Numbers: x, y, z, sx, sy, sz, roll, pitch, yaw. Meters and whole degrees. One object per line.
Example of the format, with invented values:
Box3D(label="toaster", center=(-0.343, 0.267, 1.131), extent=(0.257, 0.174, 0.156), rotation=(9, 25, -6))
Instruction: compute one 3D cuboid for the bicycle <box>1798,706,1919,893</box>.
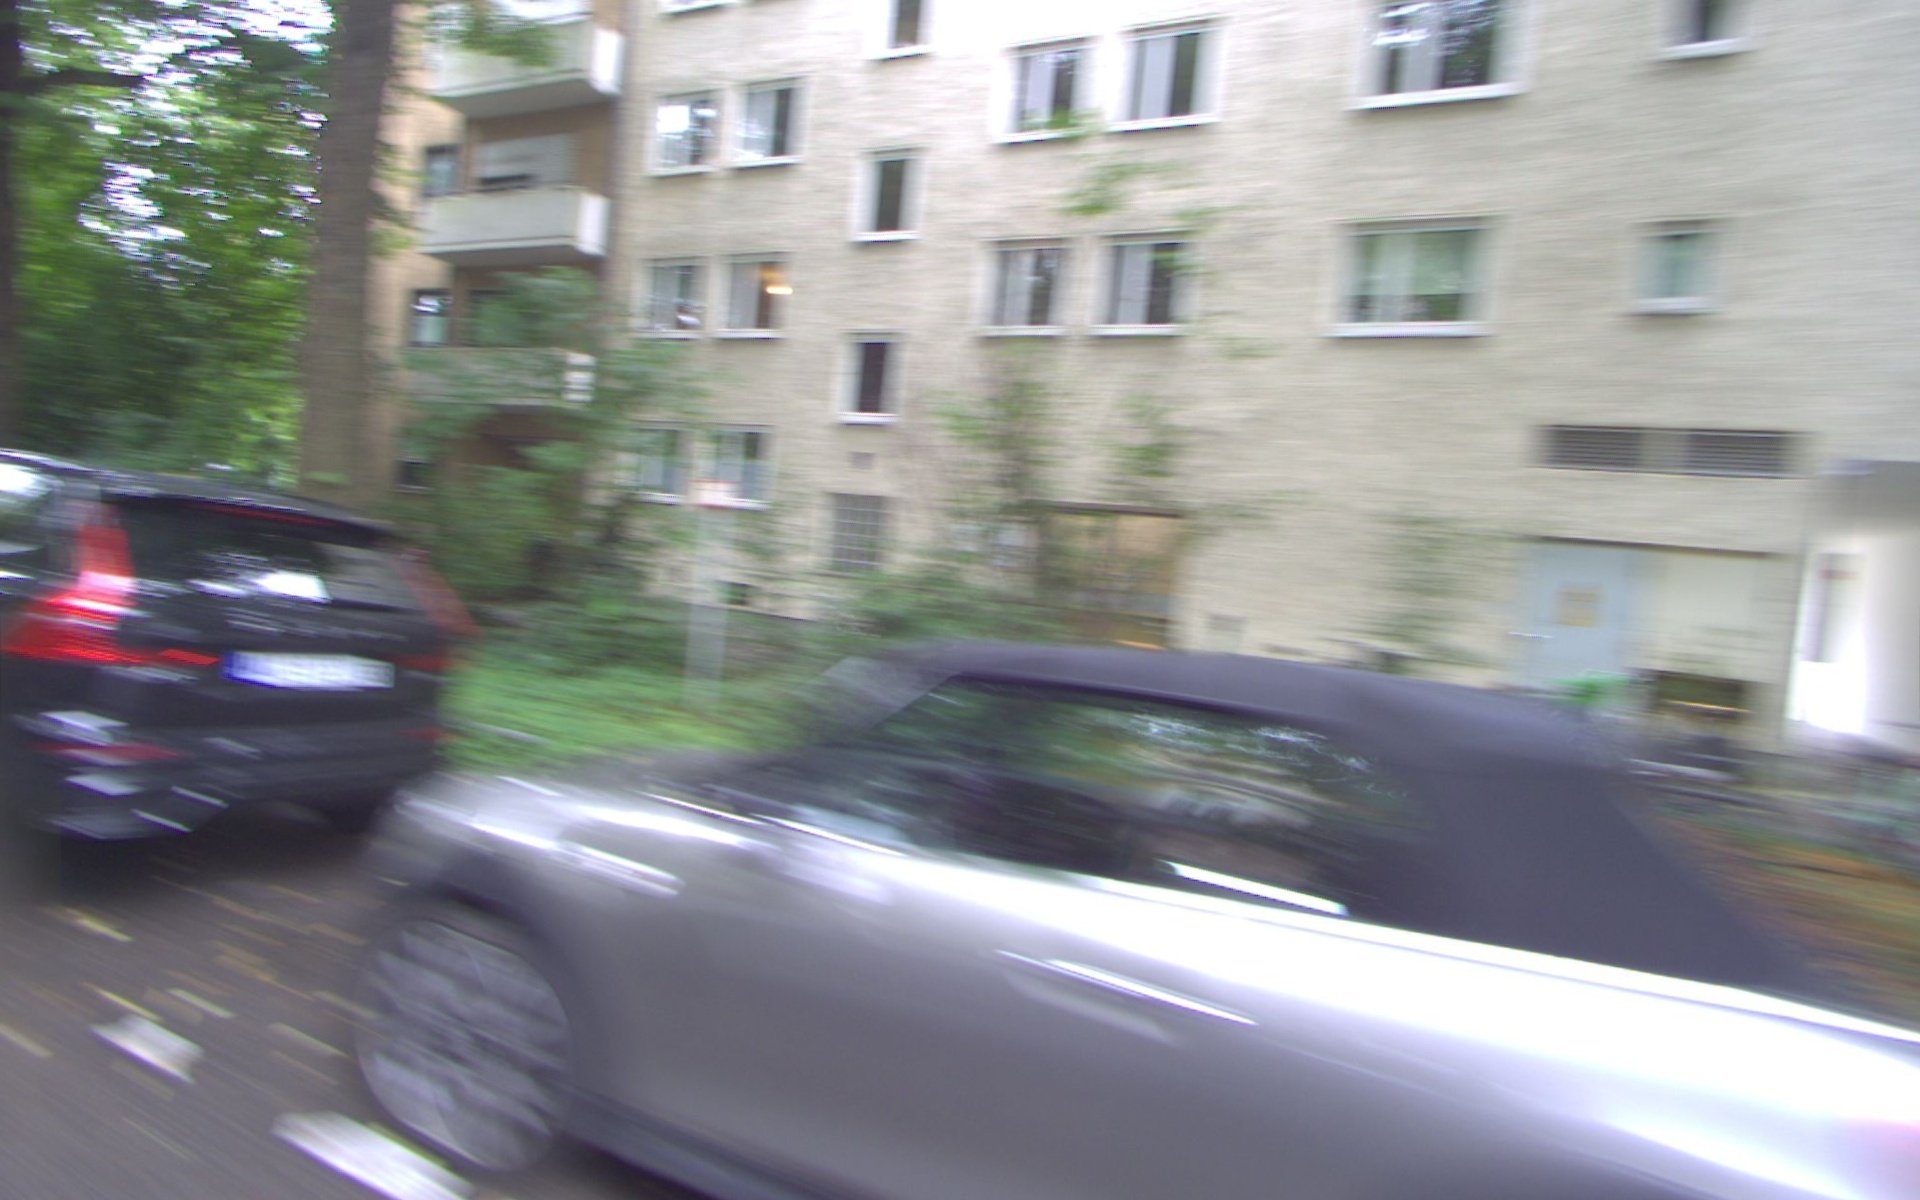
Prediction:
Box3D(label="bicycle", center=(6.792, 1.418, 7.051), extent=(0.530, 1.138, 1.877), rotation=(6, 1, 14))

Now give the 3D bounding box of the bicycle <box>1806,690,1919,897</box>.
Box3D(label="bicycle", center=(5.954, 1.196, 5.982), extent=(0.530, 1.138, 1.877), rotation=(6, 1, 14))

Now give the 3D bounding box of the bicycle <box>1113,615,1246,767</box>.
Box3D(label="bicycle", center=(1.928, 0.764, 9.089), extent=(0.438, 1.138, 1.767), rotation=(6, 1, -10))

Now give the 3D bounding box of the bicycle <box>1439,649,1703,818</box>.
Box3D(label="bicycle", center=(5.090, 1.091, 8.481), extent=(1.738, 1.138, 0.445), rotation=(7, 2, 15))

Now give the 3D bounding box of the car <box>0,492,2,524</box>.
Box3D(label="car", center=(-8.878, -0.283, 7.115), extent=(3.711, 1.431, 1.622), rotation=(7, 1, 22))

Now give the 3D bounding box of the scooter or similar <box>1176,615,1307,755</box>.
Box3D(label="scooter or similar", center=(2.887, 0.852, 10.337), extent=(1.116, 1.269, 0.384), rotation=(7, 2, 26))

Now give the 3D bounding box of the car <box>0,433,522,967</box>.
Box3D(label="car", center=(-4.498, 0.127, 4.875), extent=(4.445, 1.650, 1.835), rotation=(7, 1, 26))

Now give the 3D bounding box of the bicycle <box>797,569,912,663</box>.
Box3D(label="bicycle", center=(-1.622, 0.230, 15.308), extent=(1.646, 1.240, 0.449), rotation=(7, 2, 26))

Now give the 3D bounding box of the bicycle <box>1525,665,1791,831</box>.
Box3D(label="bicycle", center=(5.986, 1.246, 8.718), extent=(1.738, 1.138, 0.445), rotation=(7, 2, 15))

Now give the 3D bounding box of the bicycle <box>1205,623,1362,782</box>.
Box3D(label="bicycle", center=(2.774, 0.835, 8.832), extent=(0.438, 1.138, 1.767), rotation=(6, 1, -10))

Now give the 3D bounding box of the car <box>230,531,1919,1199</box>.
Box3D(label="car", center=(0.393, 0.745, 2.676), extent=(4.350, 1.432, 1.901), rotation=(6, 2, 25))

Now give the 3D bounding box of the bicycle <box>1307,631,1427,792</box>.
Box3D(label="bicycle", center=(3.402, 0.871, 8.558), extent=(0.437, 1.138, 1.948), rotation=(6, 1, 10))
